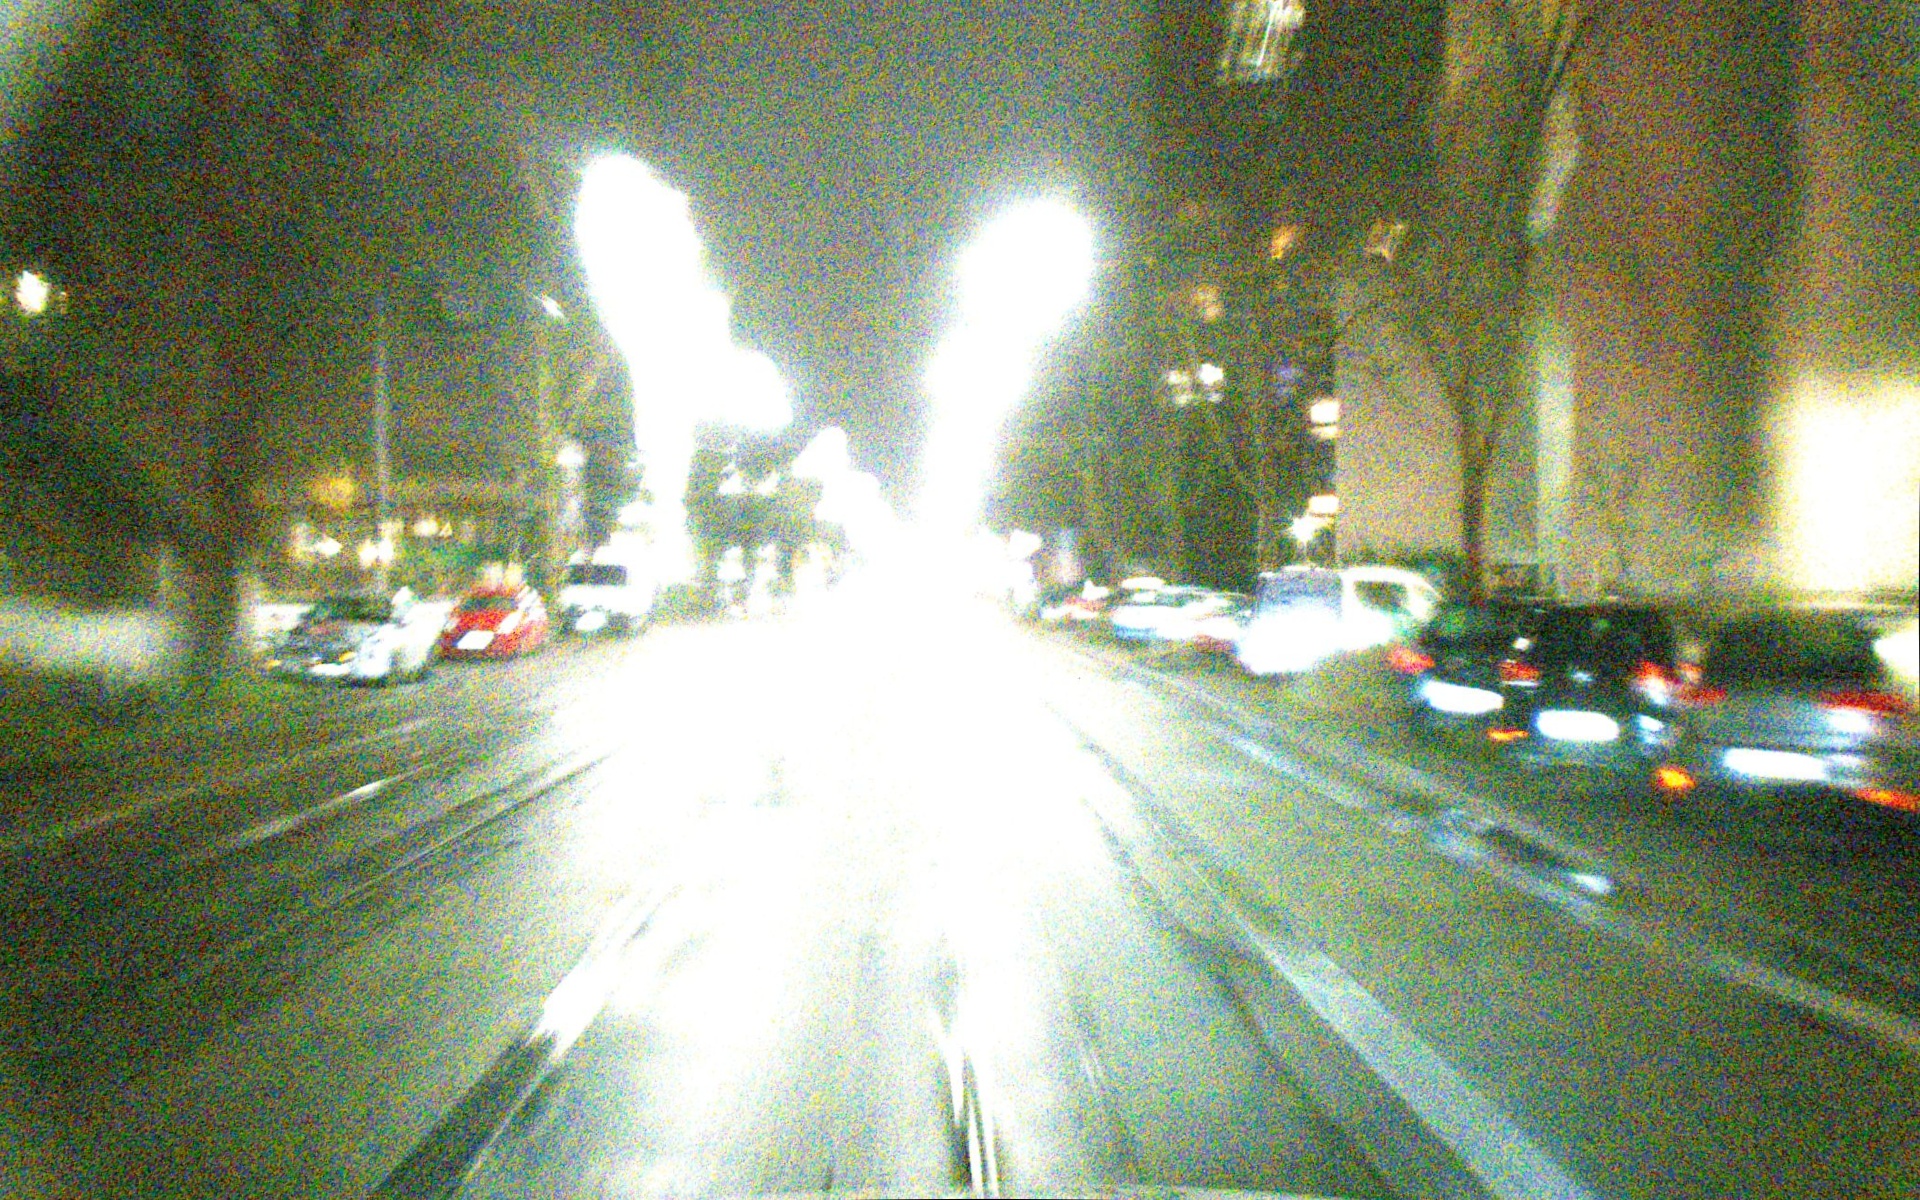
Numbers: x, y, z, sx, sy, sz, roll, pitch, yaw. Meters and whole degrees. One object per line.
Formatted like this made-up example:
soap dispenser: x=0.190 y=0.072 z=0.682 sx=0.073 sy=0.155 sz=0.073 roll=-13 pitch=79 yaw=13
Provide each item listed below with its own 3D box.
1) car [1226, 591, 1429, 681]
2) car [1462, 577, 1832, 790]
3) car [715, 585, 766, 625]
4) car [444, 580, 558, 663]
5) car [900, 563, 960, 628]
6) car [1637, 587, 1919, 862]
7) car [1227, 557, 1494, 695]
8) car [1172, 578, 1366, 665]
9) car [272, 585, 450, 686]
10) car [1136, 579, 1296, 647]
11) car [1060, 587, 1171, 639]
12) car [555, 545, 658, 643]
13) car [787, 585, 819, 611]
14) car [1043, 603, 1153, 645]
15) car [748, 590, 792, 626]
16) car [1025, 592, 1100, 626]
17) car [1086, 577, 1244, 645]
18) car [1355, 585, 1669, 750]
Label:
car: x=6.247 y=0.596 z=28.026 sx=3.301 sy=1.409 sz=1.610 roll=1 pitch=0 yaw=-37
car: x=5.822 y=0.585 z=13.786 sx=1.774 sy=1.514 sz=3.835 roll=0 pitch=0 yaw=40
car: x=-10.740 y=0.262 z=81.190 sx=2.067 sy=1.795 sz=4.961 roll=2 pitch=-1 yaw=-4
car: x=-9.701 y=0.412 z=35.166 sx=1.608 sy=1.533 sz=3.617 roll=1 pitch=2 yaw=-4
car: x=-1.265 y=-0.173 z=66.705 sx=2.173 sy=2.484 sz=5.381 roll=1 pitch=0 yaw=-3
car: x=6.174 y=0.727 z=10.970 sx=3.761 sy=1.483 sz=1.742 roll=2 pitch=0 yaw=-44
car: x=6.090 y=0.388 z=24.905 sx=4.140 sy=1.871 sz=1.932 roll=2 pitch=1 yaw=-43
car: x=5.878 y=0.346 z=31.065 sx=1.661 sy=1.428 sz=4.435 roll=1 pitch=2 yaw=40
car: x=-9.415 y=0.528 z=26.304 sx=1.577 sy=1.453 sz=3.806 roll=2 pitch=0 yaw=-3
car: x=5.904 y=0.315 z=37.884 sx=1.790 sy=1.458 sz=3.831 roll=2 pitch=0 yaw=43
car: x=5.409 y=0.460 z=57.178 sx=2.018 sy=1.652 sz=3.808 roll=2 pitch=0 yaw=40
car: x=-9.962 y=-0.204 z=47.060 sx=1.985 sy=2.542 sz=5.603 roll=2 pitch=1 yaw=-4
car: x=-11.434 y=-0.109 z=120.649 sx=1.982 sy=1.791 sz=3.998 roll=2 pitch=-1 yaw=-2
car: x=5.289 y=0.920 z=63.110 sx=1.918 sy=1.480 sz=4.218 roll=2 pitch=0 yaw=44
car: x=-10.240 y=0.446 z=89.559 sx=1.959 sy=1.816 sz=3.998 roll=2 pitch=-1 yaw=-2
car: x=5.178 y=0.470 z=82.877 sx=1.873 sy=1.599 sz=3.945 roll=2 pitch=0 yaw=37
car: x=5.051 y=0.271 z=40.444 sx=3.857 sy=1.560 sz=1.793 roll=1 pitch=1 yaw=-43
car: x=5.737 y=0.648 z=16.938 sx=1.573 sy=1.463 sz=3.809 roll=2 pitch=0 yaw=43
